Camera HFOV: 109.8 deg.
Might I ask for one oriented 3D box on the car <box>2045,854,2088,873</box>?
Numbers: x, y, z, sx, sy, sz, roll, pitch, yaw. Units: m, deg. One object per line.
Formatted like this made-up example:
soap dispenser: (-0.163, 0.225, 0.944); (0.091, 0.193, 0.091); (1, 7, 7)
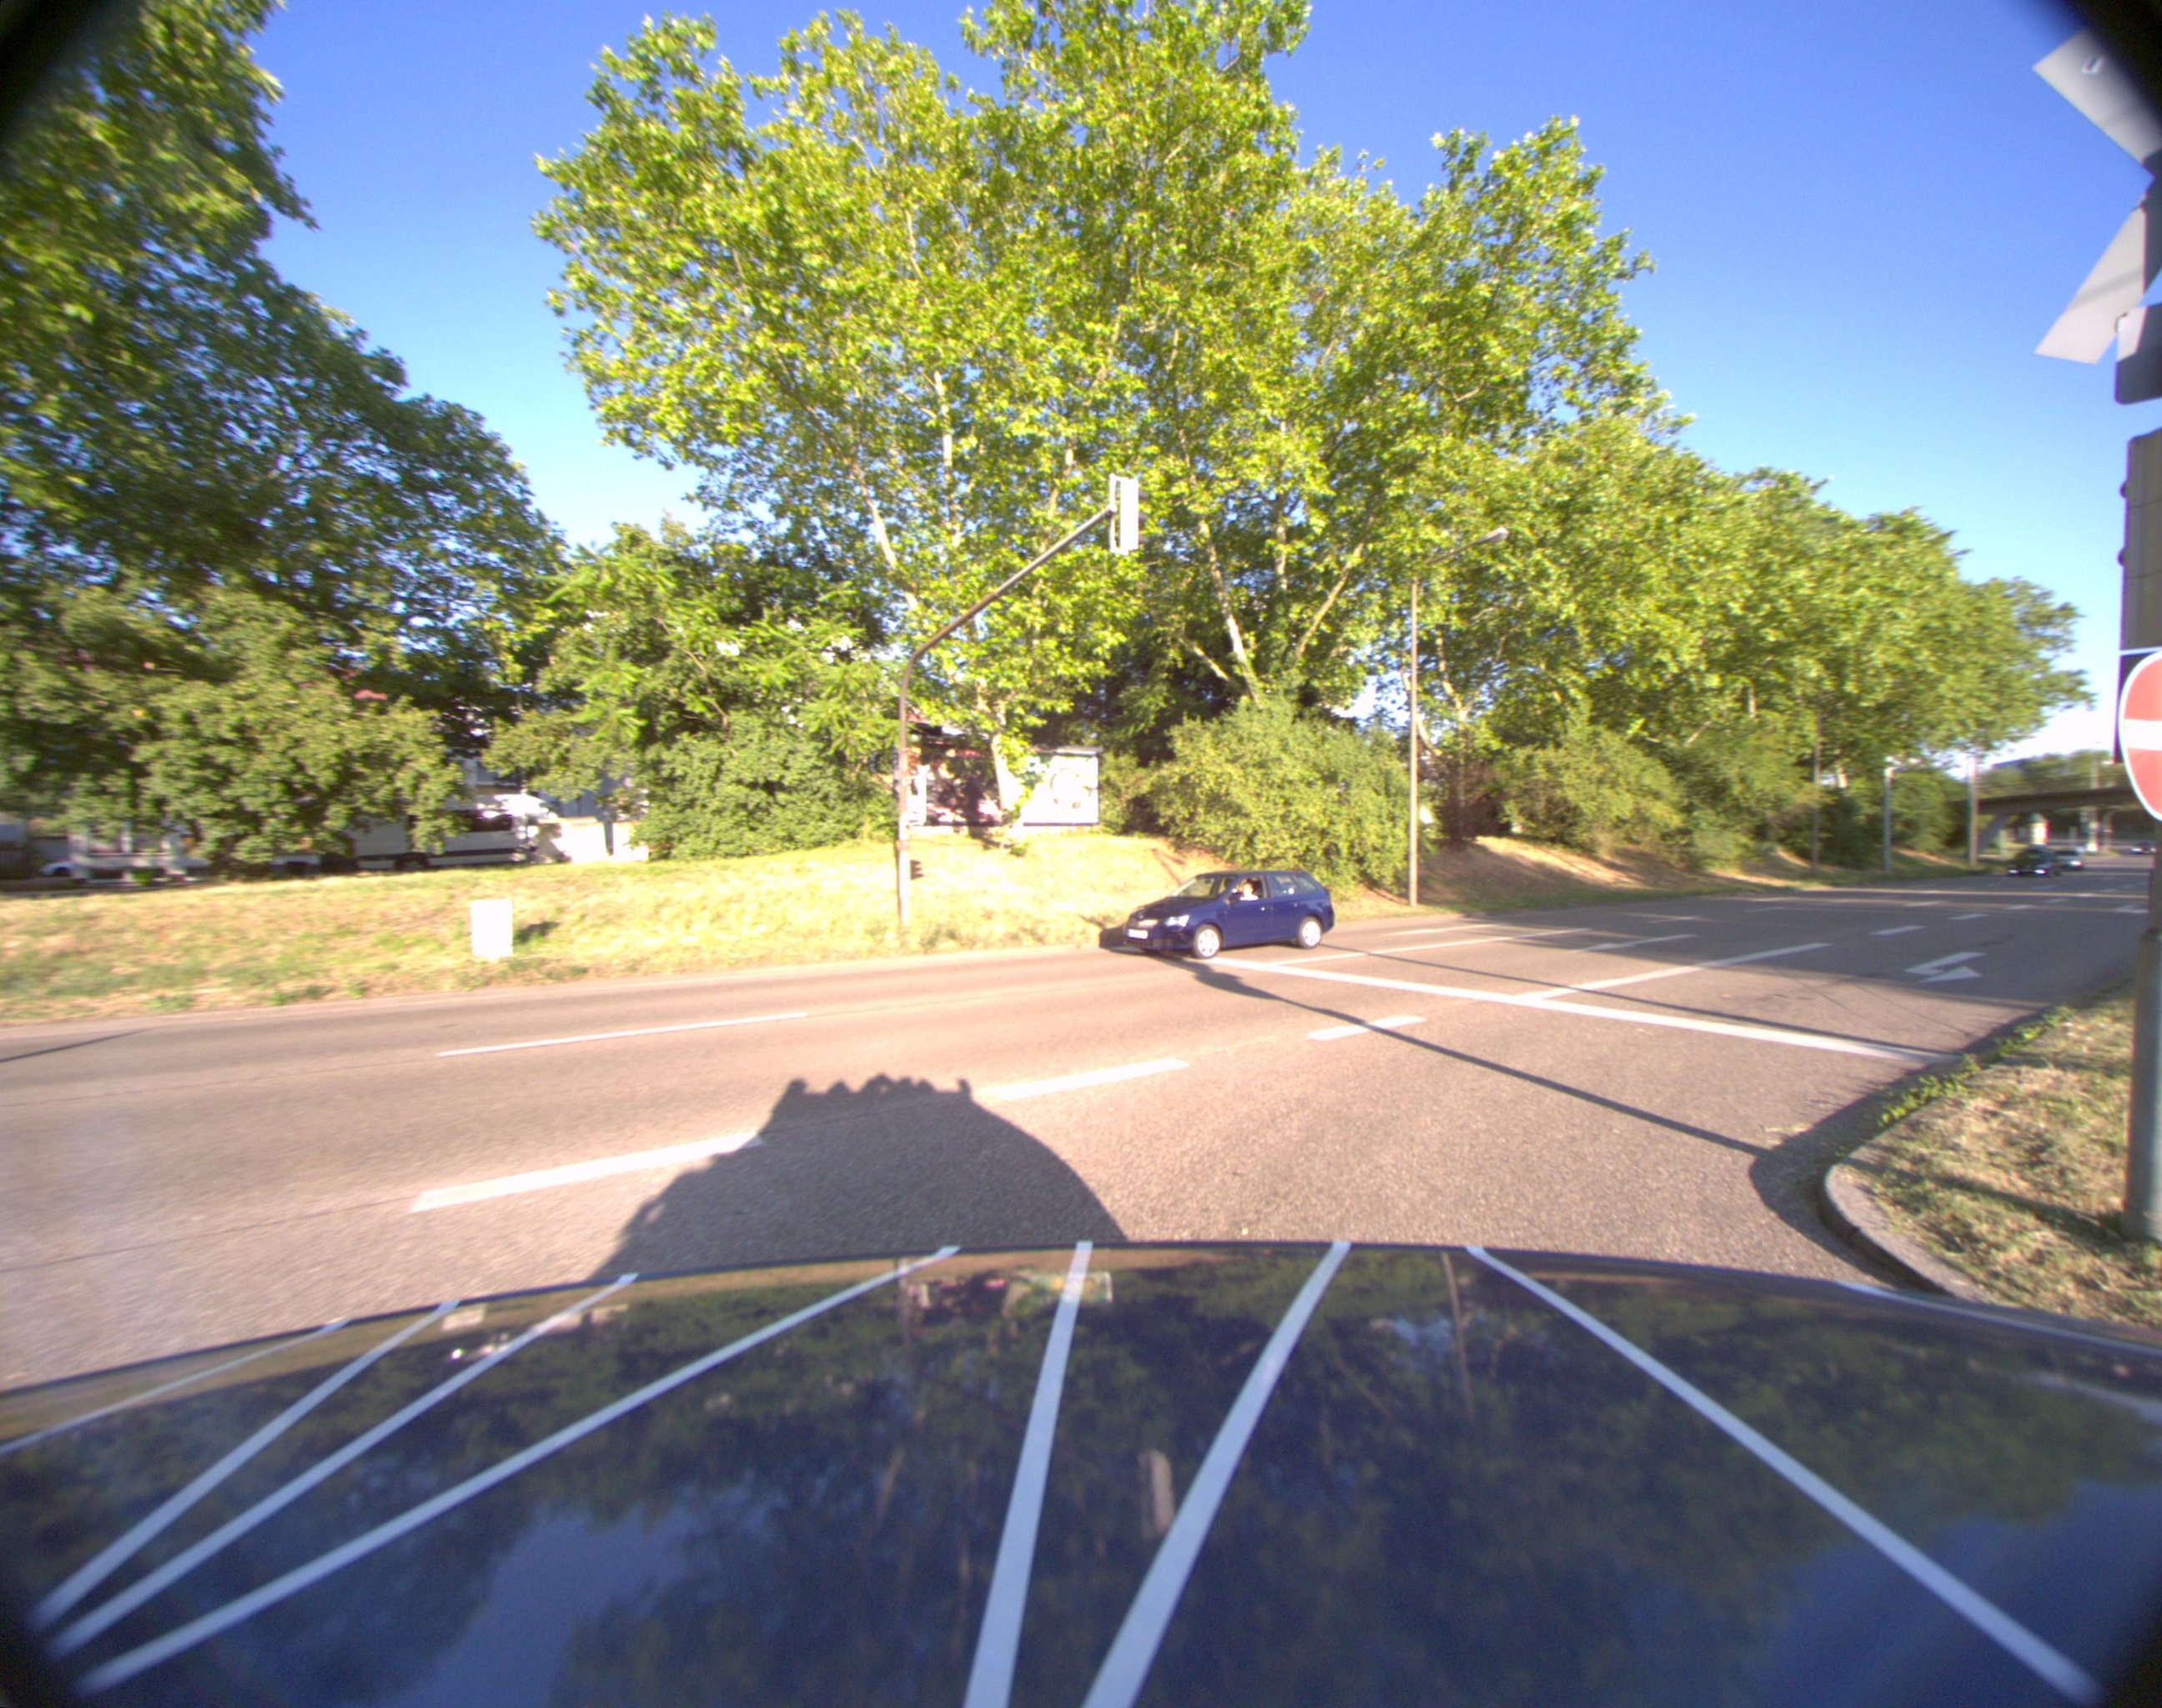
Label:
car: (76.888, 0.740, 59.276); (4.199, 1.432, 1.995); (0, 0, -37)

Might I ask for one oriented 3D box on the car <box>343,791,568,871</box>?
car: (-21.023, -0.740, 25.913); (5.636, 2.498, 1.803); (-1, 0, -27)

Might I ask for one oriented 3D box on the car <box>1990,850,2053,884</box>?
car: (61.899, 0.812, 50.006); (4.197, 2.150, 1.995); (0, 0, -30)

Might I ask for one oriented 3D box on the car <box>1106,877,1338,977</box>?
car: (2.580, 1.188, 13.608); (3.992, 1.433, 1.626); (-1, 0, -31)
